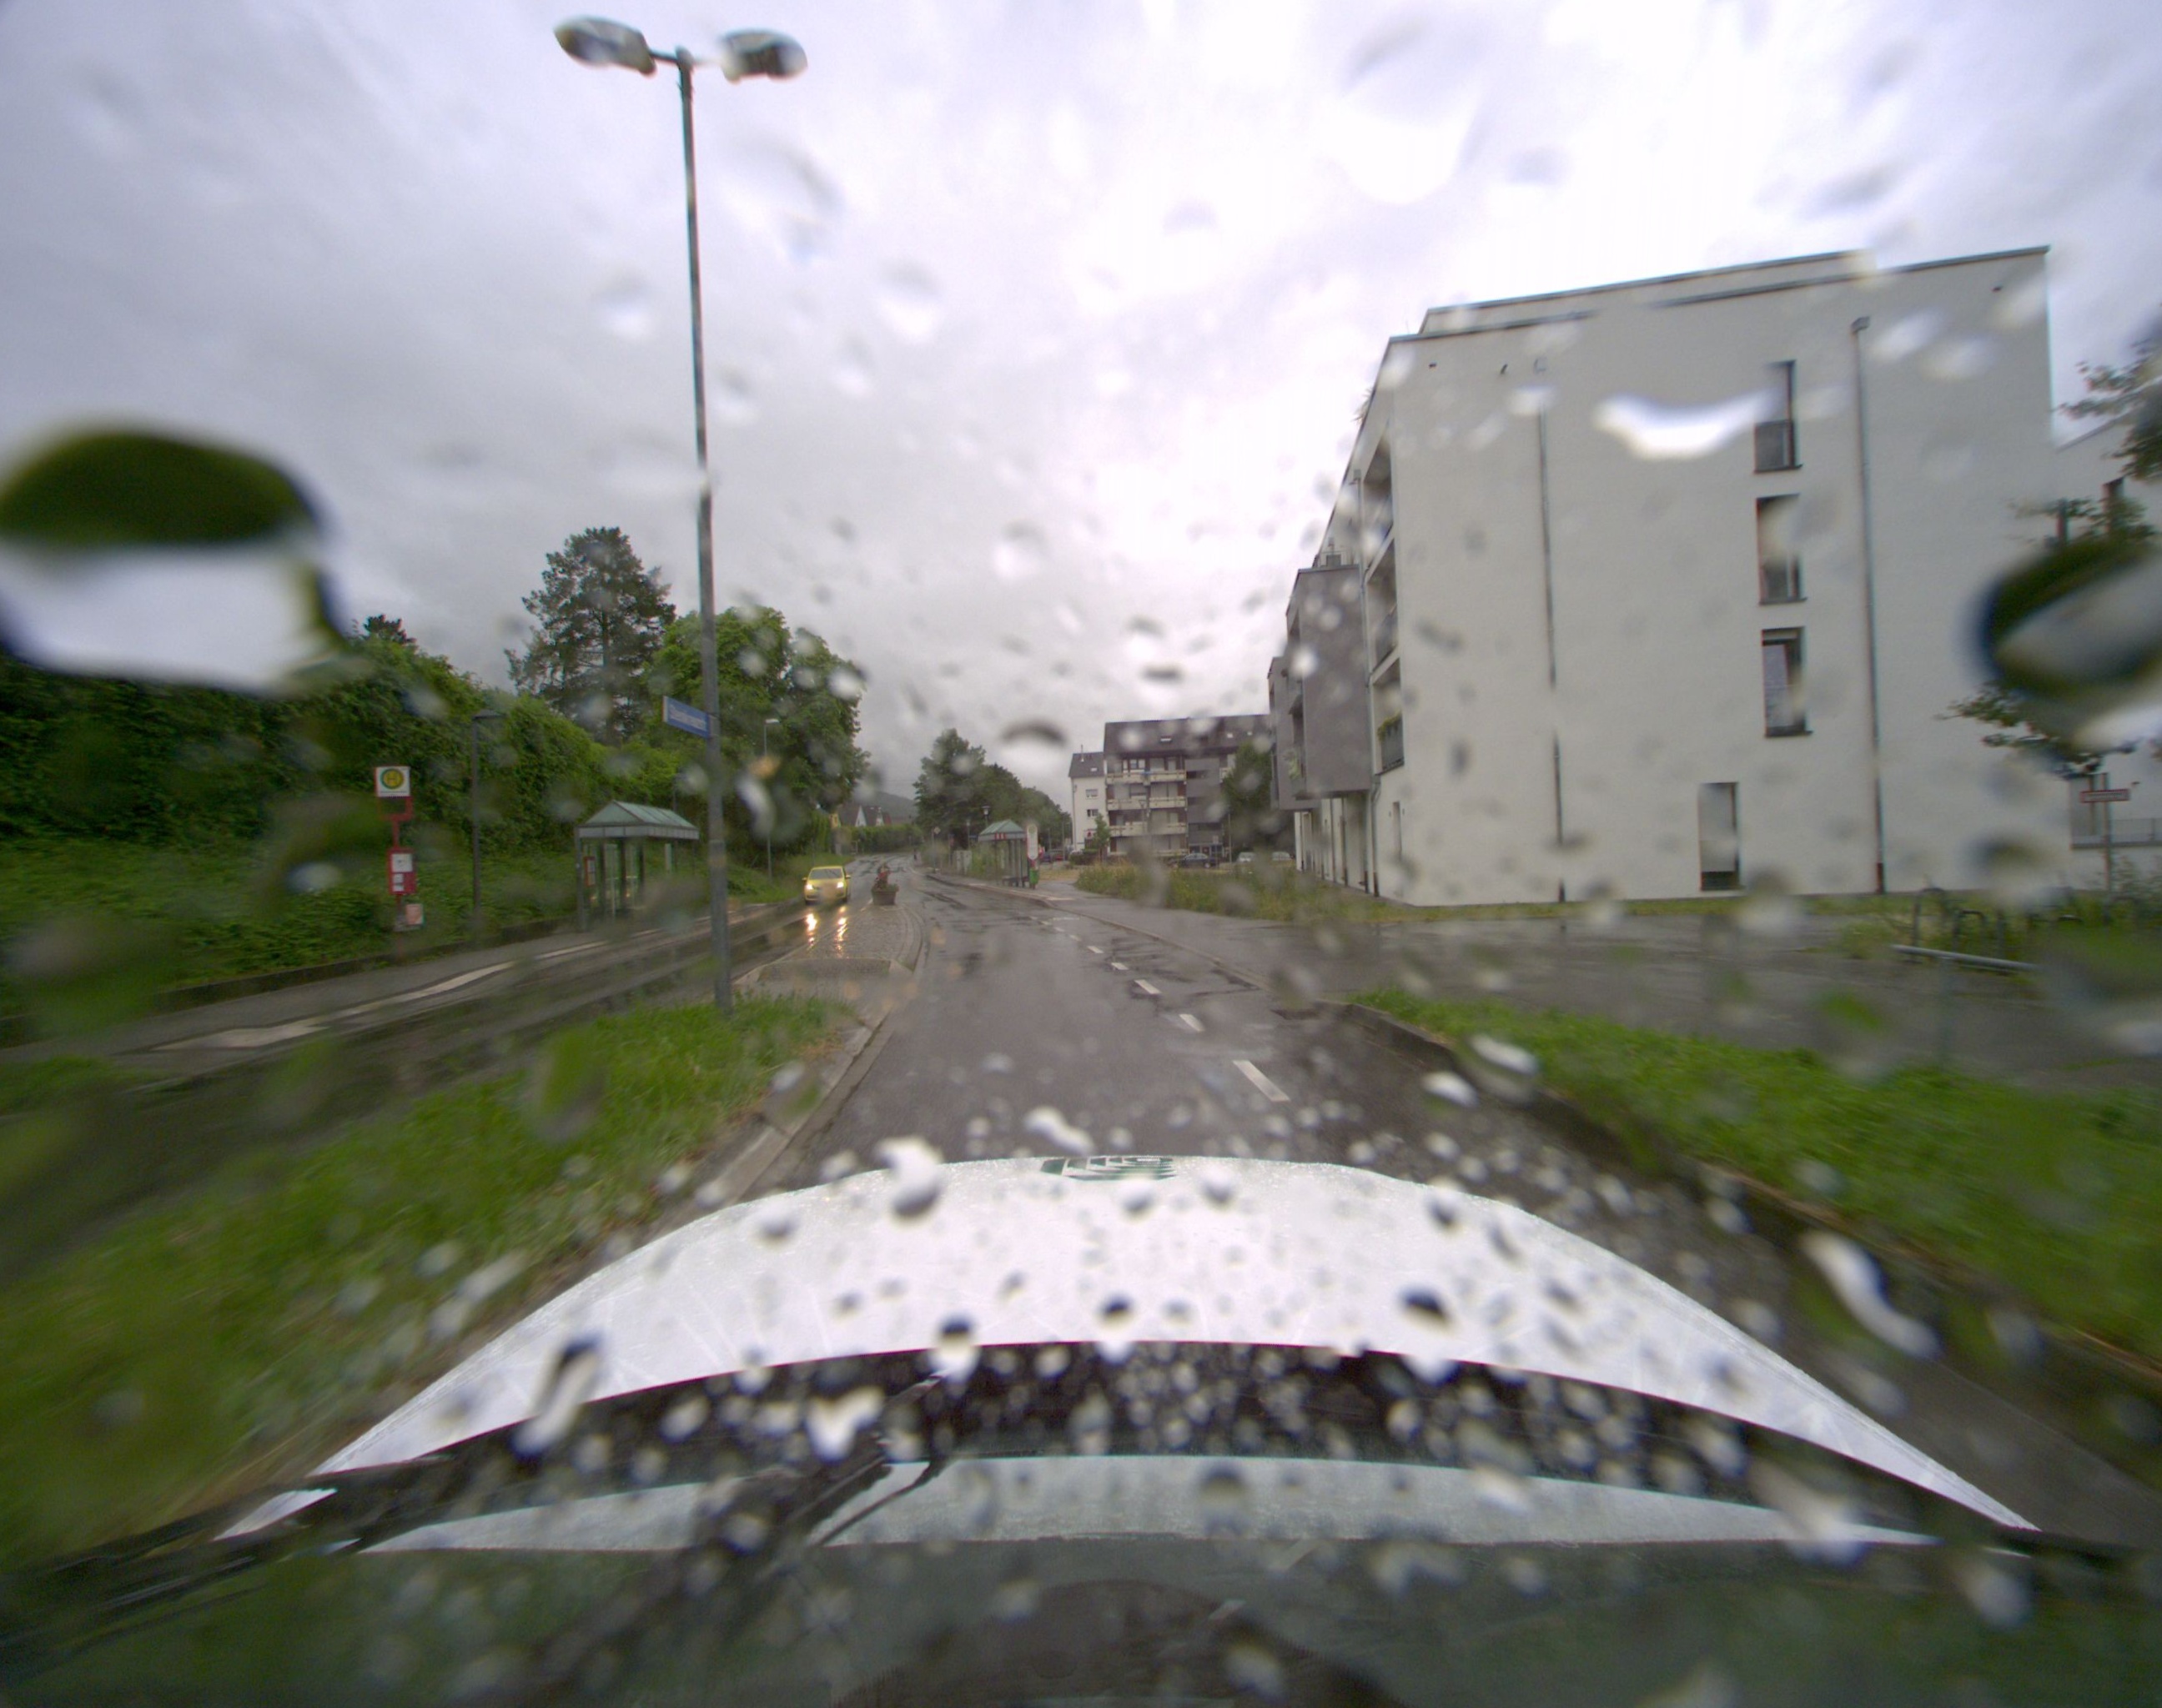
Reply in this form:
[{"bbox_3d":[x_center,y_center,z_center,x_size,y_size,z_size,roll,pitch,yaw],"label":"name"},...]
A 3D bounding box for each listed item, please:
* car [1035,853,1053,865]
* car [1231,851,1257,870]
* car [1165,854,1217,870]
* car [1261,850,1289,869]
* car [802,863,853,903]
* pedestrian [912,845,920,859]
[{"bbox_3d":[-4.636,0.617,102.054,1.690,1.438,3.597,-2,2,-12],"label":"car"},{"bbox_3d":[13.265,0.523,66.423,1.708,1.441,3.711,-1,-2,5],"label":"car"},{"bbox_3d":[9.936,0.693,73.751,4.579,1.387,1.949,0,1,4],"label":"car"},{"bbox_3d":[15.690,0.480,65.973,1.708,1.441,3.711,-1,-2,5],"label":"car"},{"bbox_3d":[-10.372,1.152,33.532,1.573,1.410,3.460,-4,1,-12],"label":"car"},{"bbox_3d":[-20.312,-0.218,100.093,0.921,1.675,1.053,-3,2,-12],"label":"pedestrian"}]
